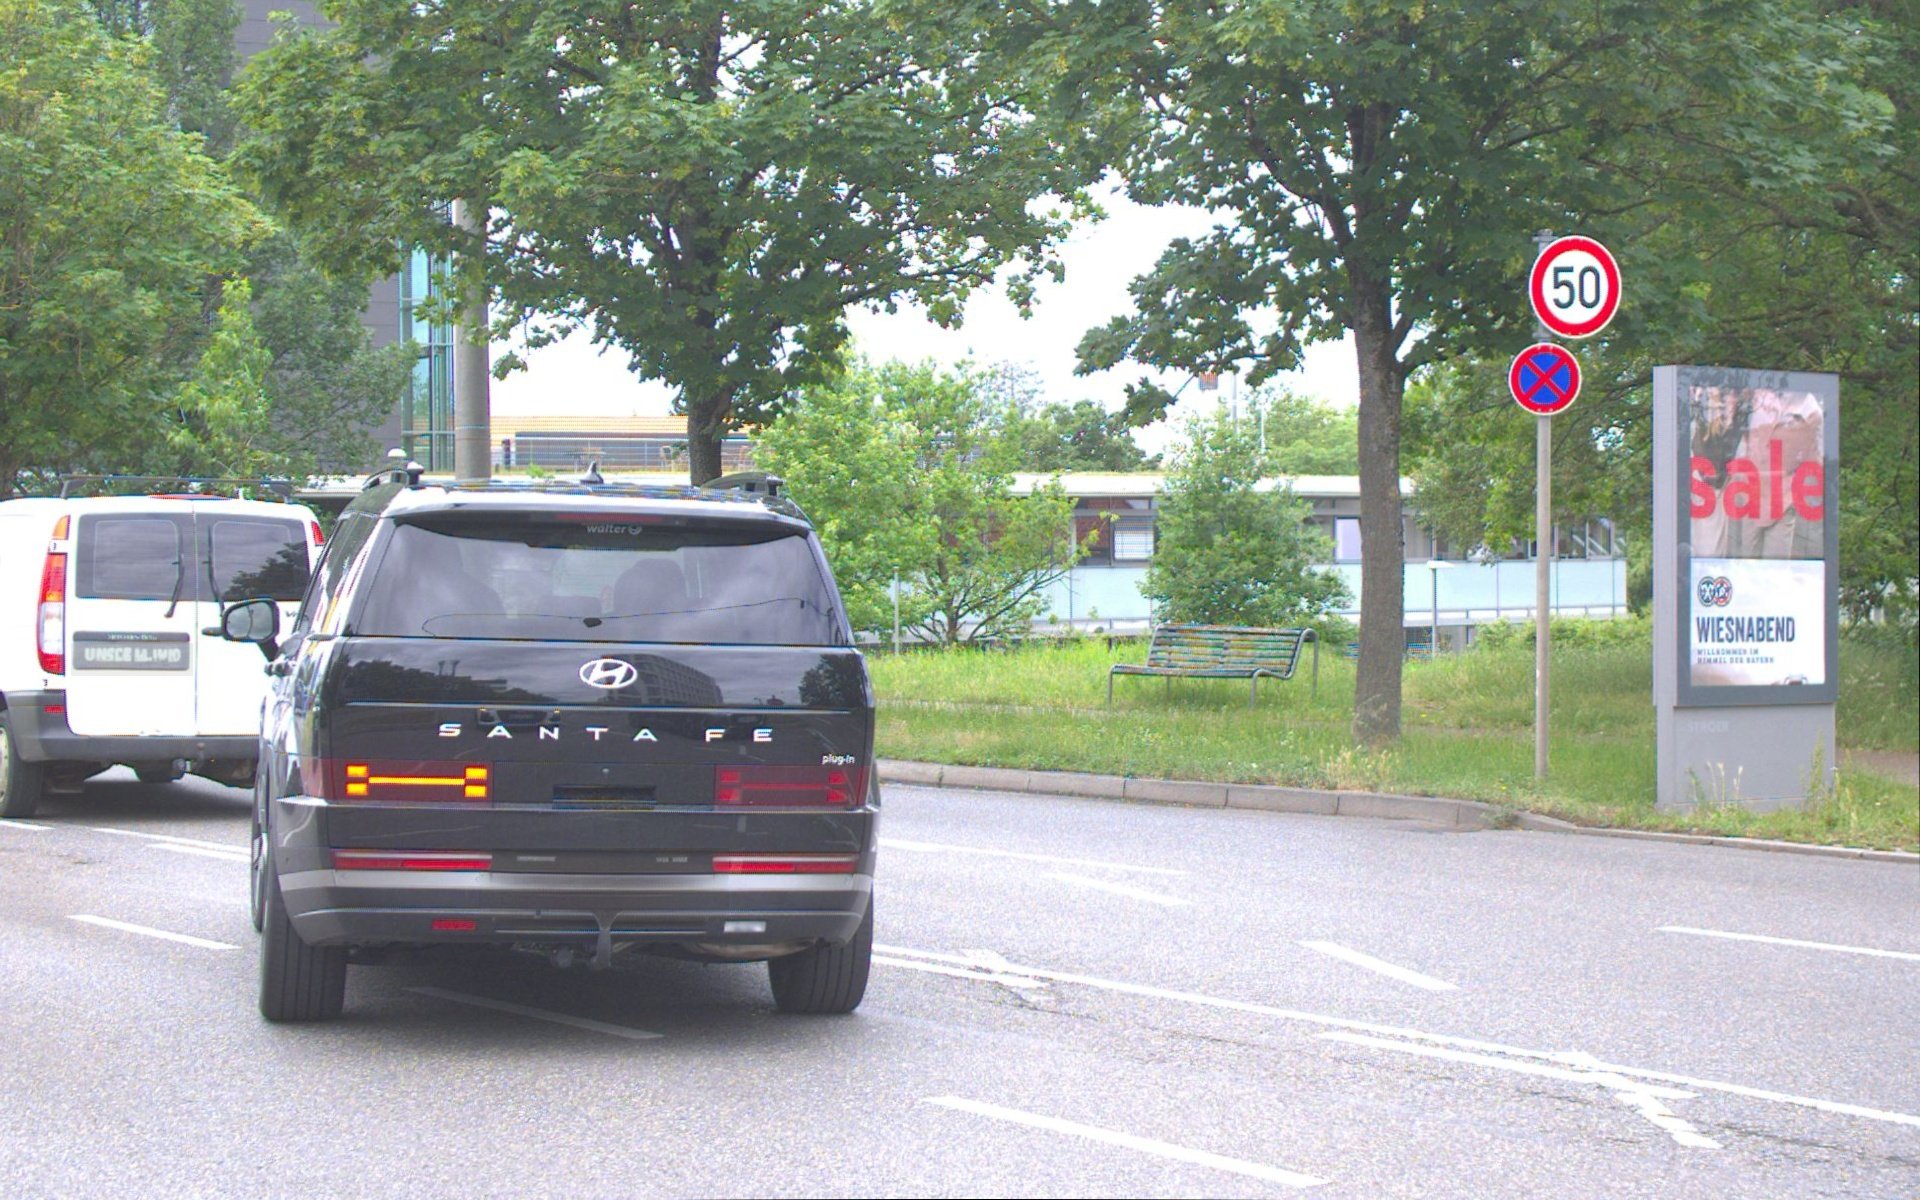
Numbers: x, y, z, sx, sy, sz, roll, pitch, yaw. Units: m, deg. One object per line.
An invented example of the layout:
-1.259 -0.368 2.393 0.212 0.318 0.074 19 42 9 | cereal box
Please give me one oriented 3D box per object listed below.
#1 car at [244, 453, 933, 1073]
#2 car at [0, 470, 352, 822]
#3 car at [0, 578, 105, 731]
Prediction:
-1.489 0.452 11.935 1.901 1.725 4.447 1 0 -12 | car
-5.435 0.244 21.683 1.902 1.962 4.637 1 0 -26 | car
-10.173 0.513 35.014 1.745 1.476 3.718 1 0 -32 | car
